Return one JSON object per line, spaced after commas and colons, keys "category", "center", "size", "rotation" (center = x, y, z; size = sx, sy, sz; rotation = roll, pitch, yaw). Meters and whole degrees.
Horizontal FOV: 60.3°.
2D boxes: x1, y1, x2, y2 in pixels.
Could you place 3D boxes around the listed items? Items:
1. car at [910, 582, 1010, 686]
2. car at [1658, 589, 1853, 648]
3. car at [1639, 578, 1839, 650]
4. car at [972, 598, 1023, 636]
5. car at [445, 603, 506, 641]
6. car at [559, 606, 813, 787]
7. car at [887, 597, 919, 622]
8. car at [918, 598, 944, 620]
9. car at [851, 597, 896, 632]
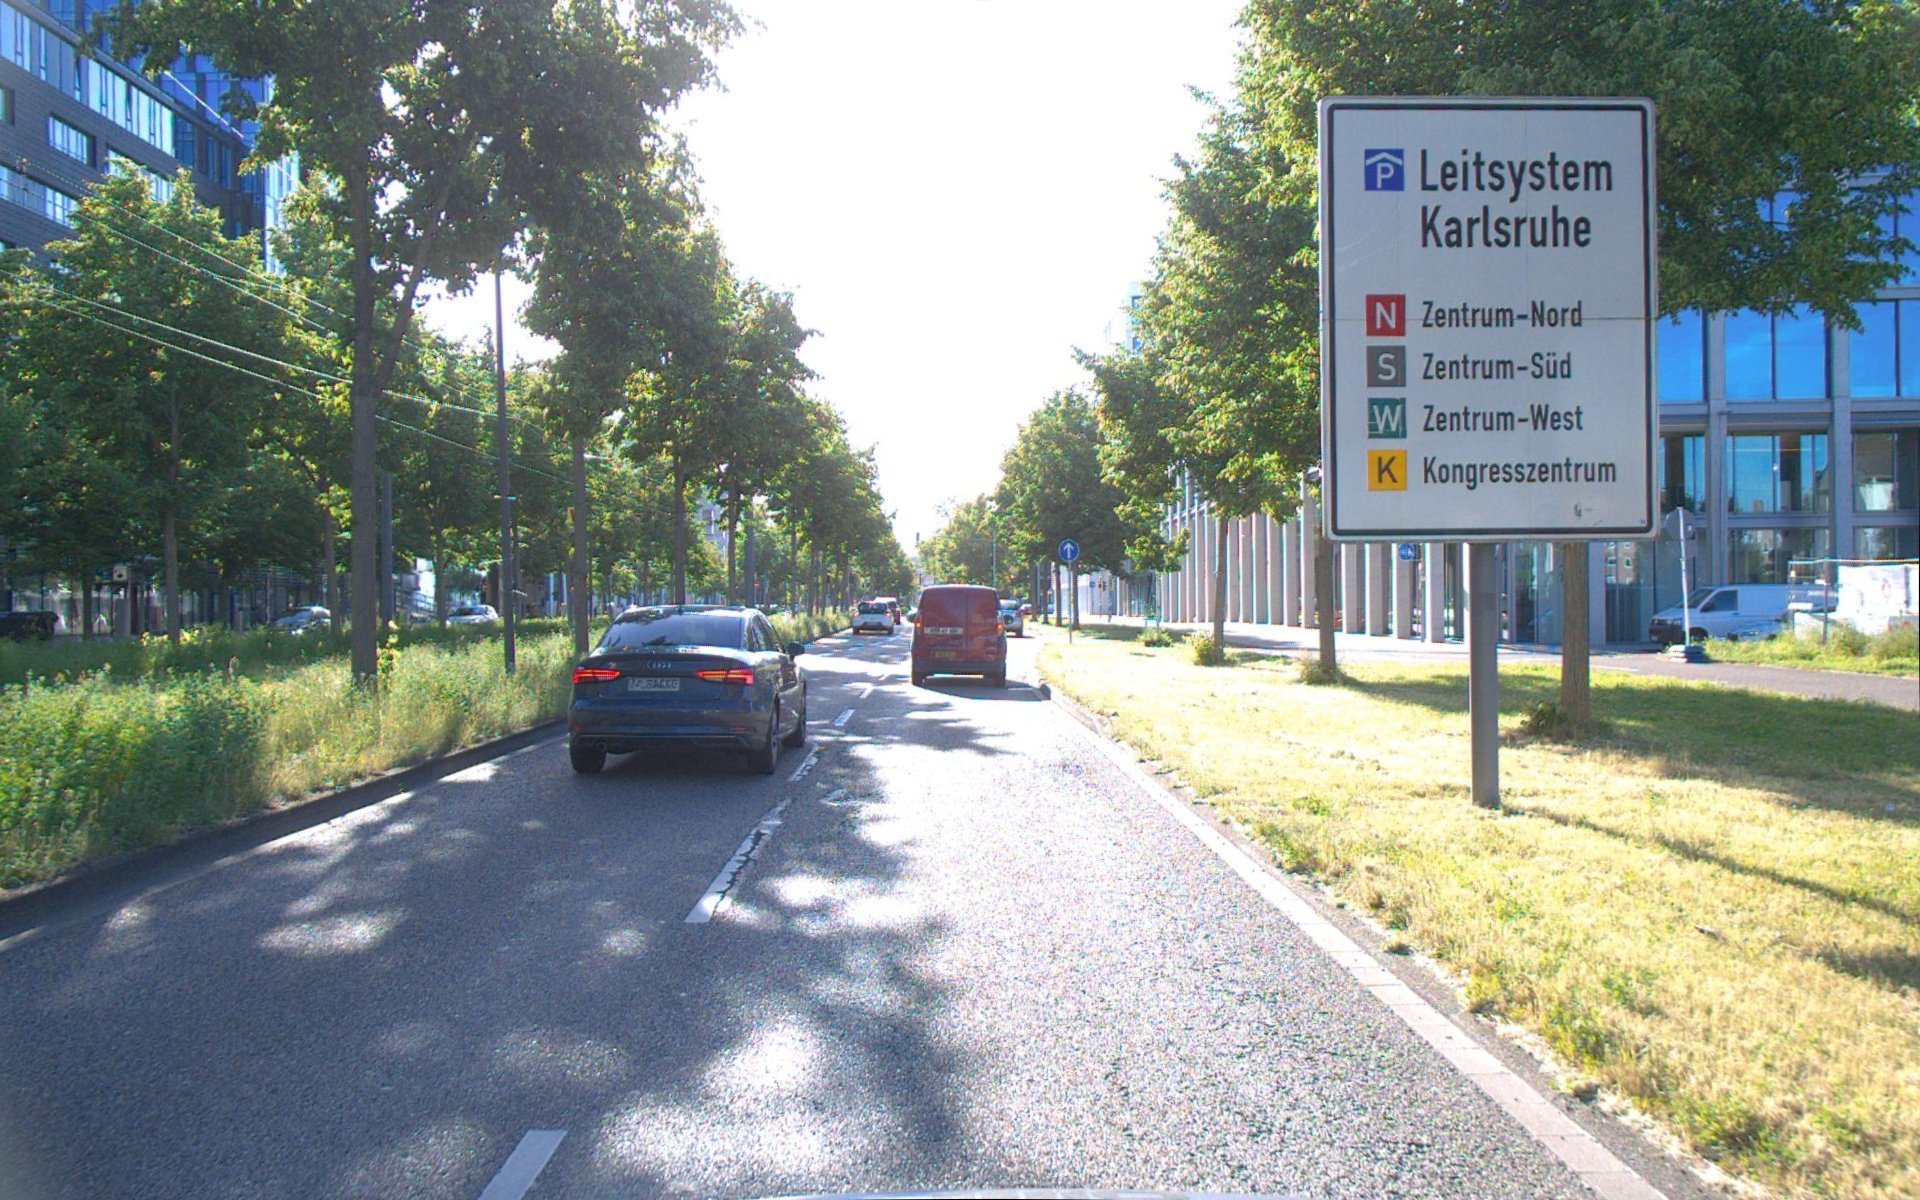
{"category": "car", "center": [-0.052, 0.608, 31.183], "size": [1.761, 1.808, 3.999], "rotation": [1, 0, -2]}
{"category": "car", "center": [21.432, 0.481, 44.708], "size": [4.416, 1.417, 1.776], "rotation": [1, 2, 11]}
{"category": "car", "center": [22.879, 0.398, 48.724], "size": [4.962, 2.016, 1.938], "rotation": [-1, 0, 1]}
{"category": "car", "center": [1.539, 0.708, 69.284], "size": [1.687, 1.450, 3.813], "rotation": [1, 1, -5]}
{"category": "car", "center": [-23.449, 1.044, 80.141], "size": [1.761, 1.718, 4.320], "rotation": [0, 1, -1]}
{"category": "car", "center": [-2.339, 0.767, 15.088], "size": [1.686, 1.390, 4.145], "rotation": [0, 0, -1]}
{"category": "car", "center": [-3.511, 0.576, 102.469], "size": [1.805, 1.561, 3.939], "rotation": [0, 0, 0]}
{"category": "car", "center": [-1.951, 0.588, 109.795], "size": [1.686, 1.450, 3.815], "rotation": [-1, 0, -1]}
{"category": "car", "center": [-3.768, 0.614, 72.458], "size": [1.903, 1.466, 3.997], "rotation": [-1, 0, -3]}
